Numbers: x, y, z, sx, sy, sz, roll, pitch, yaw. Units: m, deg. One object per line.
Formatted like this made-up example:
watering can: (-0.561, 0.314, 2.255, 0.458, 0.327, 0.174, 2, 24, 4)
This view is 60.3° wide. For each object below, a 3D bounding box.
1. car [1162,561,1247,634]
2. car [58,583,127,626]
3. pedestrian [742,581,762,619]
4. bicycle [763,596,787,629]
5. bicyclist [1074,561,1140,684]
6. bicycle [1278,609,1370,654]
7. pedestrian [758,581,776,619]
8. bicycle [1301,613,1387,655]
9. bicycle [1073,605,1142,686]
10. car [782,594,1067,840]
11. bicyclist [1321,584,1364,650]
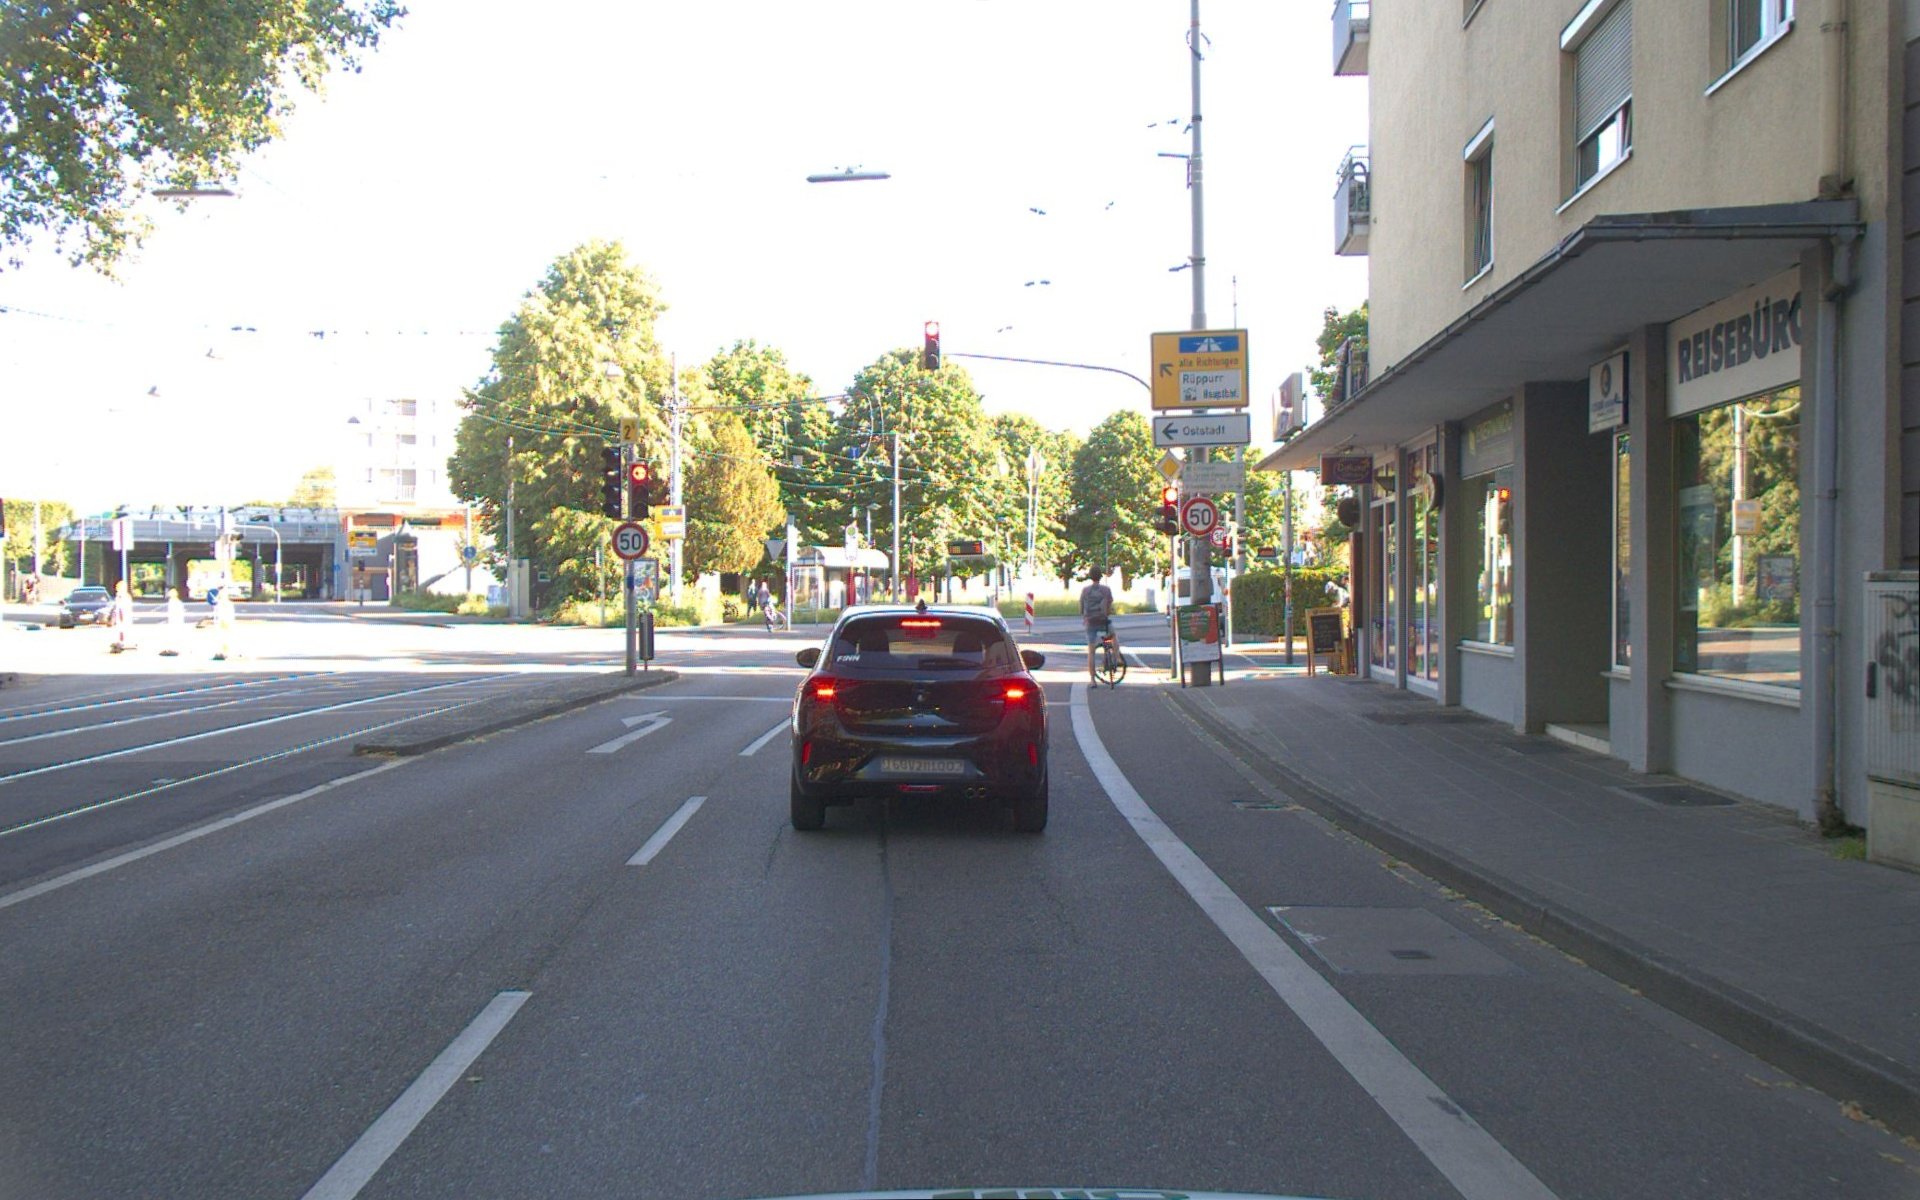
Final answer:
car: (8.131, -0.109, 54.664, 2.020, 2.288, 4.889, 0, 0, 18)
car: (-32.998, 0.146, 62.979, 1.798, 1.545, 3.871, 2, 0, -20)
pedestrian: (-9.122, 0.010, 72.539, 0.735, 1.658, 0.598, 2, -1, 6)
bicycle: (-6.099, 0.417, 54.534, 0.593, 1.049, 1.982, 0, 0, -1)
bicyclist: (2.292, 0.342, 25.914, 0.922, 1.883, 0.864, -1, 0, -1)
bicycle: (9.171, 0.800, 41.716, 2.244, 1.103, 0.801, 0, 0, 12)
pedestrian: (-8.459, 0.013, 72.437, 0.623, 1.658, 0.572, 2, -1, 6)
bicycle: (9.354, 0.832, 40.343, 2.014, 1.001, 0.673, 0, 0, 11)
bicycle: (2.296, 0.688, 25.951, 0.842, 1.173, 2.171, -1, 0, -1)
car: (-0.222, 0.695, 12.020, 1.692, 1.454, 4.187, 1, 0, 0)
bicyclist: (9.335, 0.405, 40.357, 0.988, 1.598, 0.800, 0, 0, 11)
